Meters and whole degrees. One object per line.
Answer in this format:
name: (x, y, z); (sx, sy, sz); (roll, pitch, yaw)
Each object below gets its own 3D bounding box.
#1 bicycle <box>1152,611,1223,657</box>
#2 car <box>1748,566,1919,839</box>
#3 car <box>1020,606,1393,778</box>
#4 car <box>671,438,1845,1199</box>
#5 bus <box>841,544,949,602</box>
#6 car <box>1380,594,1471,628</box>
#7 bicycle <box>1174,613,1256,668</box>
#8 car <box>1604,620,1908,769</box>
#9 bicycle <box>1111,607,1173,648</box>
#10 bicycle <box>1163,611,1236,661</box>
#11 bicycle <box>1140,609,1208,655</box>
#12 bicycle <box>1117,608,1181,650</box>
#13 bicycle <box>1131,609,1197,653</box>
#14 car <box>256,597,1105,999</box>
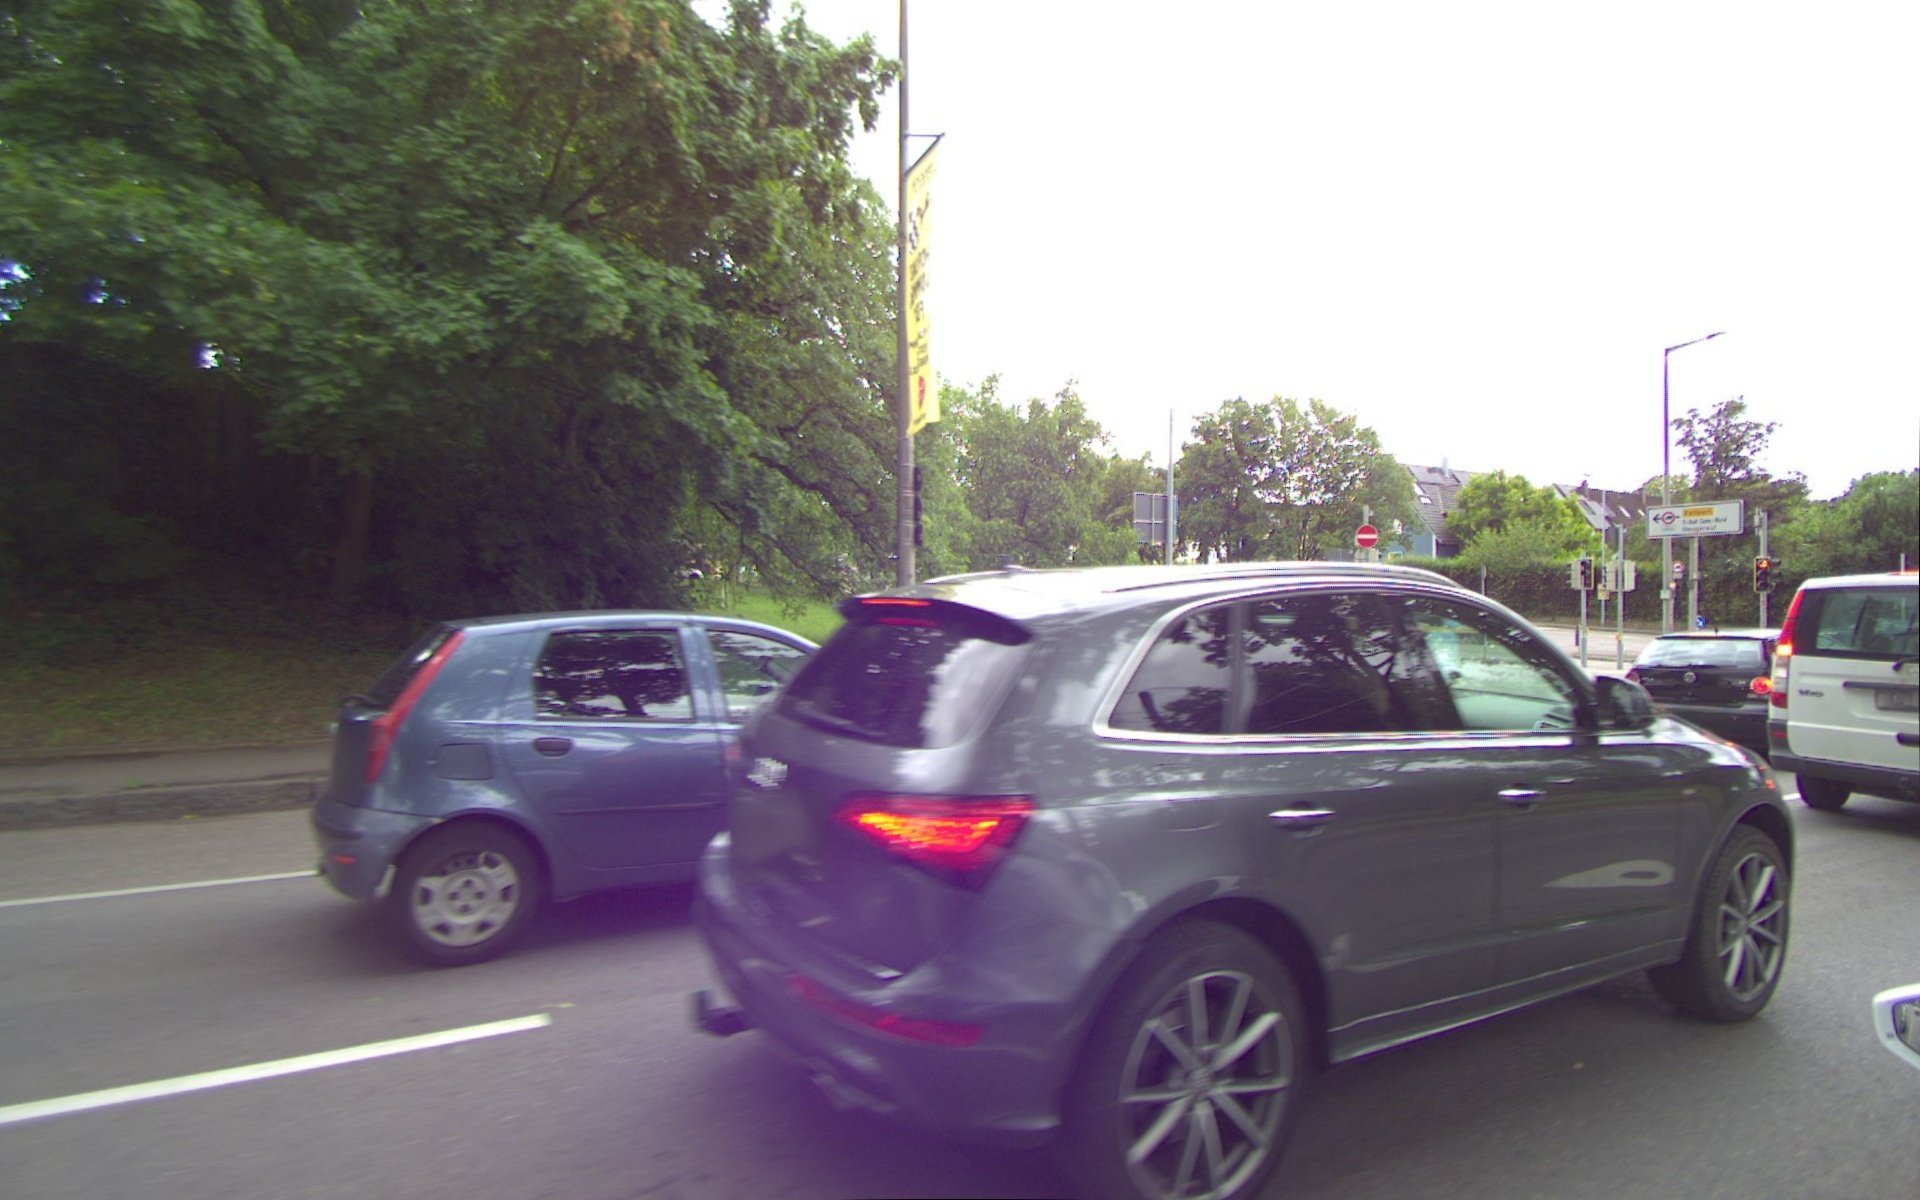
bicycle: (6.536, 0.975, 28.900); (1.902, 1.269, 0.544); (2, 1, -13)
car: (8.809, 0.756, 8.236); (5.219, 1.867, 1.898); (1, 0, -30)
car: (2.734, 0.883, 10.939); (3.865, 1.559, 1.730); (1, -1, -31)
car: (1.307, 0.625, 3.749); (4.283, 1.741, 1.743); (2, -1, -30)
bus: (-4.575, -1.948, 66.697); (2.644, 3.205, 12.264); (2, 3, -26)
car: (26.506, 0.611, 57.330); (1.927, 1.836, 4.408); (1, 0, -30)
bicycle: (6.414, 1.010, 25.328); (1.896, 1.269, 0.546); (2, 1, 8)
car: (9.427, 1.009, 11.846); (3.762, 1.486, 1.549); (1, 0, -30)
bicycle: (5.963, 0.908, 32.925); (1.902, 1.269, 0.544); (2, 1, -13)
bicycle: (6.645, 0.990, 27.913); (1.896, 1.269, 0.546); (2, 1, 8)
bicycle: (6.410, 0.956, 30.163); (1.896, 1.269, 0.546); (2, 1, 4)
bicycle: (6.060, 0.920, 32.215); (1.899, 1.269, 0.545); (2, 1, -8)
bicycle: (6.293, 0.941, 31.101); (1.896, 1.269, 0.546); (2, 1, 4)
car: (-1.264, 0.797, 5.367); (3.880, 1.487, 1.585); (1, -2, -28)
